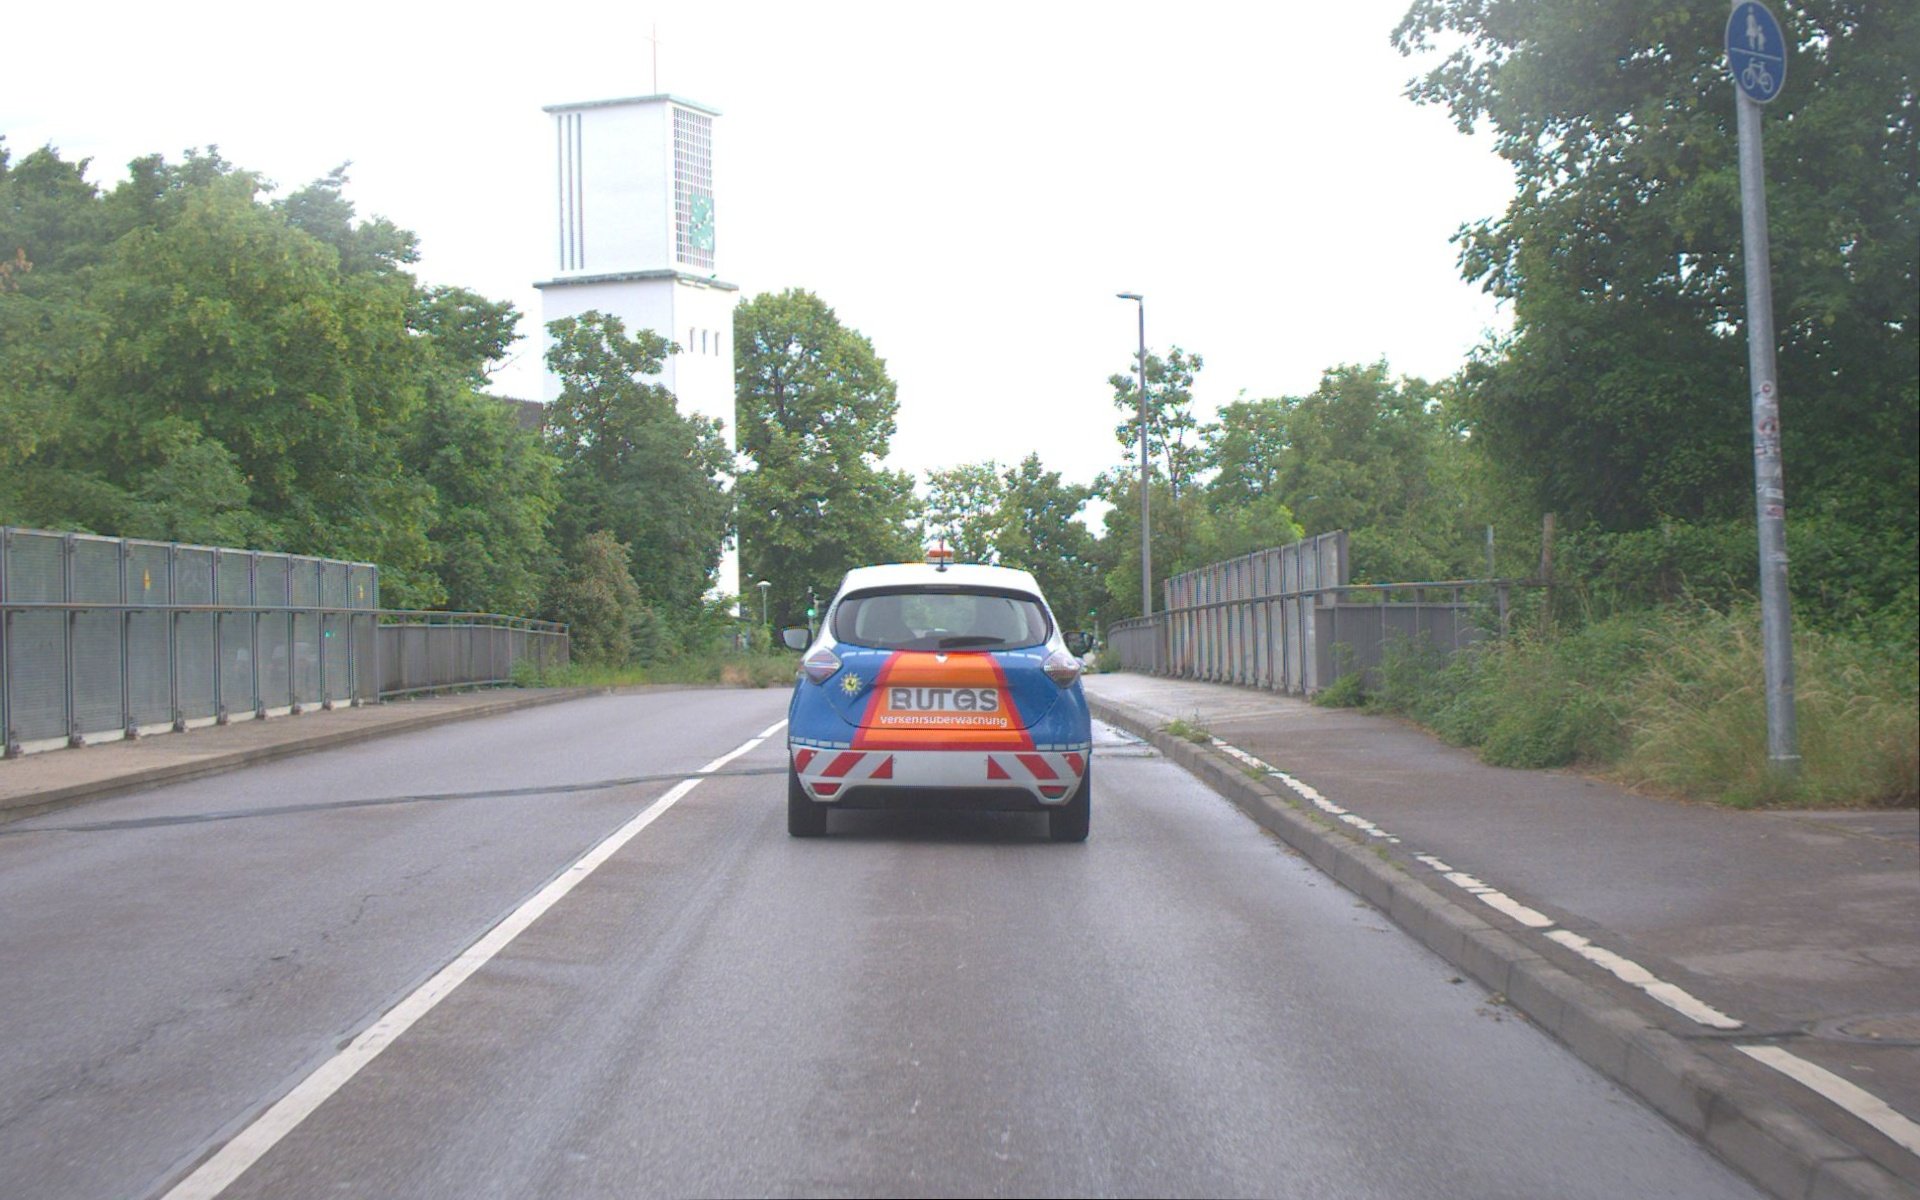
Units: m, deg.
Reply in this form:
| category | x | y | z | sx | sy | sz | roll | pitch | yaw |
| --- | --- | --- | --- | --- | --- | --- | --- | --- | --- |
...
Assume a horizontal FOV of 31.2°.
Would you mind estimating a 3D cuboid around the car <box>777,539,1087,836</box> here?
| category | x | y | z | sx | sy | sz | roll | pitch | yaw |
| --- | --- | --- | --- | --- | --- | --- | --- | --- | --- |
| car | -0.170 | 0.467 | 20.432 | 1.657 | 1.587 | 3.568 | -1 | 0 | -1 |

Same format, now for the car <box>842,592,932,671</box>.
| category | x | y | z | sx | sy | sz | roll | pitch | yaw |
| --- | --- | --- | --- | --- | --- | --- | --- | --- | --- |
| car | -1.639 | 0.667 | 75.755 | 1.802 | 1.584 | 3.563 | -2 | 1 | -3 |
